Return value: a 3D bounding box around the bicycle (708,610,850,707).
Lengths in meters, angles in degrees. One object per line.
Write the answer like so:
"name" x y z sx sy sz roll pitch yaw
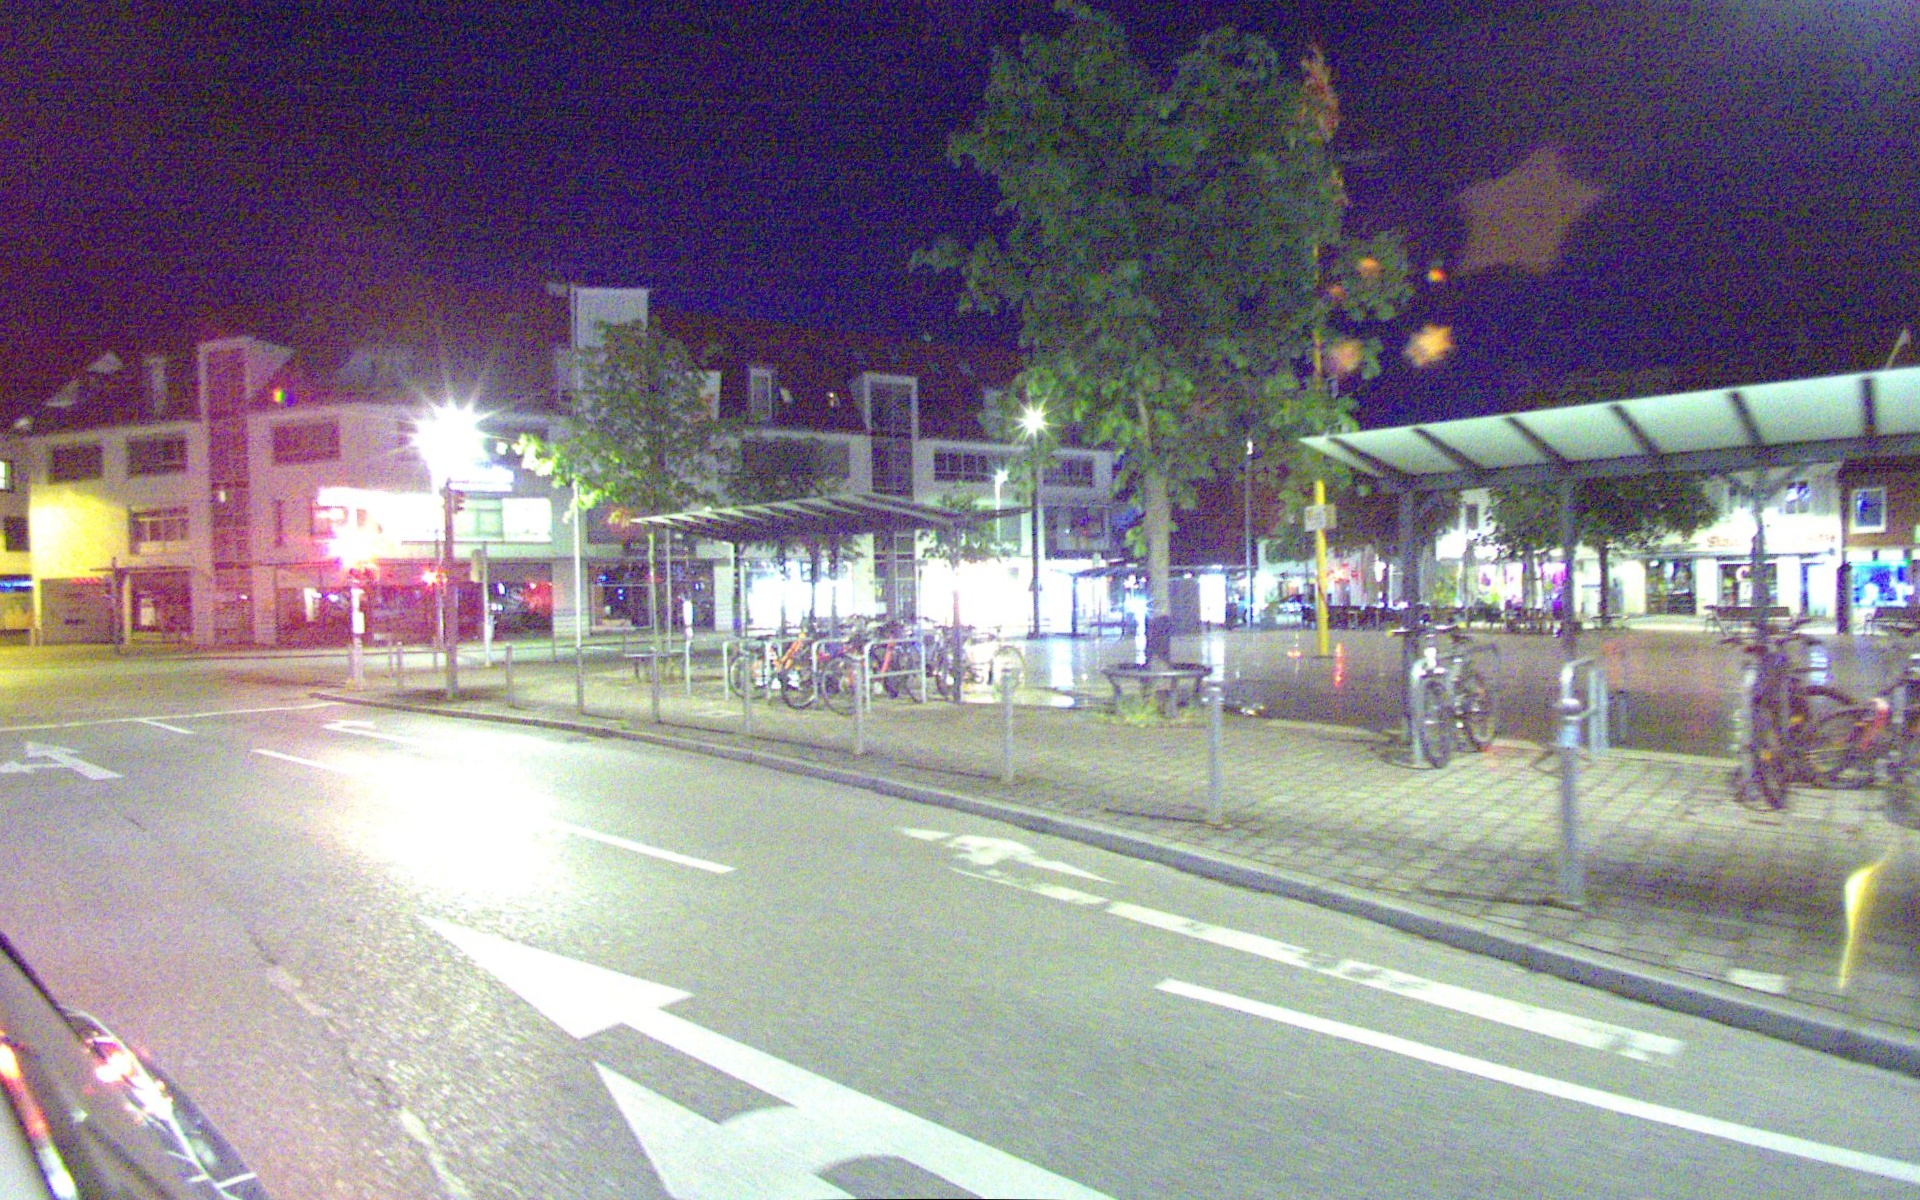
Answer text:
"bicycle" -2.541 0.786 14.320 1.813 1.166 0.787 -5 3 -45

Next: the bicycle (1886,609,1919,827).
"bicycle" 5.812 0.630 5.800 0.670 1.114 1.599 -1 1 40

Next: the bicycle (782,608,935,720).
"bicycle" -1.228 0.751 12.474 1.715 1.175 0.787 -4 2 -45

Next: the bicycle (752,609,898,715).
"bicycle" -1.728 0.762 13.123 1.715 1.166 0.787 -5 3 -45

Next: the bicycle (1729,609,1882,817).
"bicycle" 5.352 0.630 6.421 0.670 1.114 1.599 0 1 40

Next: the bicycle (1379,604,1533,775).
"bicycle" 3.922 0.631 7.931 0.670 1.173 1.751 -1 0 40
